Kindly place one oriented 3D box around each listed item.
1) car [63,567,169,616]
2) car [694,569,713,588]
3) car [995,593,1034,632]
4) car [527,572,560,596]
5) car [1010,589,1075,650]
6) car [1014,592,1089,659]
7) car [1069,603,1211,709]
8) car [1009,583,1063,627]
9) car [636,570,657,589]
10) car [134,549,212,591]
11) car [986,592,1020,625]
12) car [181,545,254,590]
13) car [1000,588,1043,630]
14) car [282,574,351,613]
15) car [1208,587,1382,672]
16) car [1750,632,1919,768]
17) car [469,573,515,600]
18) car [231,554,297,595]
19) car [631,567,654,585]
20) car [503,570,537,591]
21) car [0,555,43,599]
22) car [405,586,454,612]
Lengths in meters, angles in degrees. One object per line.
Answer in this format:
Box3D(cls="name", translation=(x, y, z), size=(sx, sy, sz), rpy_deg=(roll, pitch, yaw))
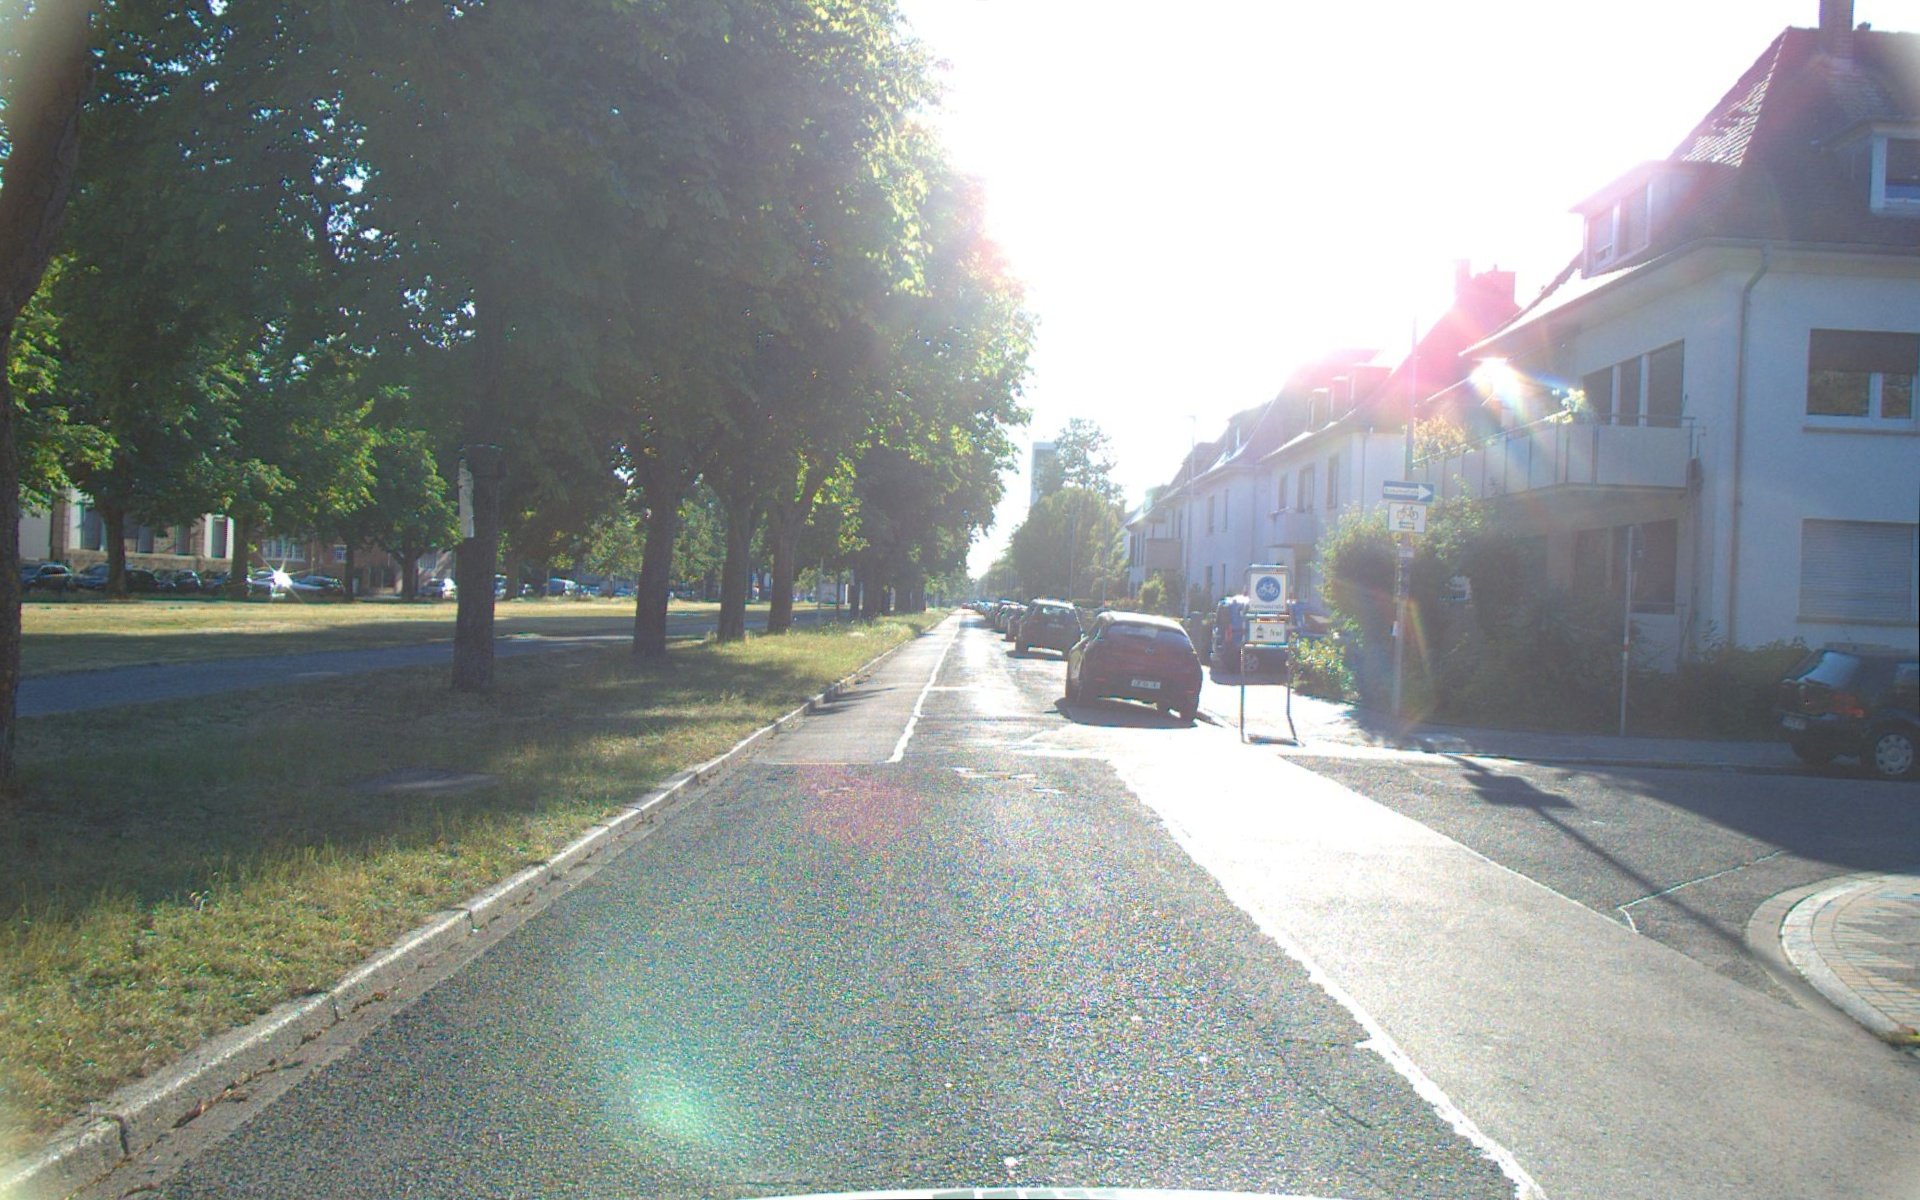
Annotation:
Box3D(cls="car", translation=(-33.303, -0.311, 65.399), size=(1.841, 1.703, 4.315), rpy_deg=(4, -1, 1))
Box3D(cls="car", translation=(-31.368, -2.634, 202.602), size=(1.621, 1.972, 3.566), rpy_deg=(4, -2, -1))
Box3D(cls="car", translation=(3.119, 0.722, 95.129), size=(1.953, 2.048, 3.999), rpy_deg=(4, -1, -1))
Box3D(cls="car", translation=(-34.092, -1.312, 135.562), size=(1.693, 1.719, 3.877), rpy_deg=(4, -2, -2))
Box3D(cls="car", translation=(2.811, 0.670, 57.316), size=(1.845, 1.892, 3.999), rpy_deg=(4, -1, -1))
Box3D(cls="car", translation=(2.812, 0.756, 51.474), size=(1.953, 1.812, 4.000), rpy_deg=(4, 0, -1))
Box3D(cls="car", translation=(2.706, 0.827, 25.677), size=(1.675, 1.383, 4.202), rpy_deg=(4, -1, 0))
Box3D(cls="car", translation=(3.160, 0.235, 69.362), size=(1.953, 1.682, 3.999), rpy_deg=(3, -1, -1))
Box3D(cls="car", translation=(-39.366, -2.560, 207.561), size=(1.955, 2.048, 3.997), rpy_deg=(4, -1, -4))
Box3D(cls="car", translation=(-38.717, -1.443, 81.436), size=(1.827, 1.834, 3.915), rpy_deg=(4, -1, 0))
Box3D(cls="car", translation=(2.839, 0.578, 109.529), size=(1.953, 2.048, 3.999), rpy_deg=(4, -1, -1))
Box3D(cls="car", translation=(-38.624, -1.655, 86.140), size=(1.954, 2.048, 3.998), rpy_deg=(4, -1, -2))
Box3D(cls="car", translation=(3.307, 0.496, 89.352), size=(1.953, 2.048, 3.999), rpy_deg=(4, -1, -1))
Box3D(cls="car", translation=(-33.242, -0.321, 85.591), size=(1.774, 1.812, 4.122), rpy_deg=(4, -1, 1))
Box3D(cls="car", translation=(8.261, 0.749, 40.929), size=(3.908, 1.854, 1.758), rpy_deg=(2, -6, -4))
Box3D(cls="car", translation=(11.708, 1.210, 19.525), size=(3.906, 1.472, 1.716), rpy_deg=(3, -1, -1))
Box3D(cls="car", translation=(-32.884, -0.950, 116.316), size=(1.982, 1.687, 3.984), rpy_deg=(4, -1, 1))
Box3D(cls="car", translation=(-38.859, -1.417, 92.469), size=(1.954, 2.048, 3.998), rpy_deg=(4, -1, -2))
Box3D(cls="car", translation=(-39.818, -2.984, 207.604), size=(1.953, 1.946, 3.999), rpy_deg=(4, -1, 0))
Box3D(cls="car", translation=(-38.713, -1.693, 145.583), size=(1.954, 1.646, 3.998), rpy_deg=(4, -1, -2))
Box3D(cls="car", translation=(-39.129, -0.998, 66.188), size=(1.954, 1.719, 5.157), rpy_deg=(4, -1, -2))
Box3D(cls="car", translation=(-38.777, -0.083, 121.019), size=(1.953, 1.687, 4.356), rpy_deg=(4, -1, 2))
